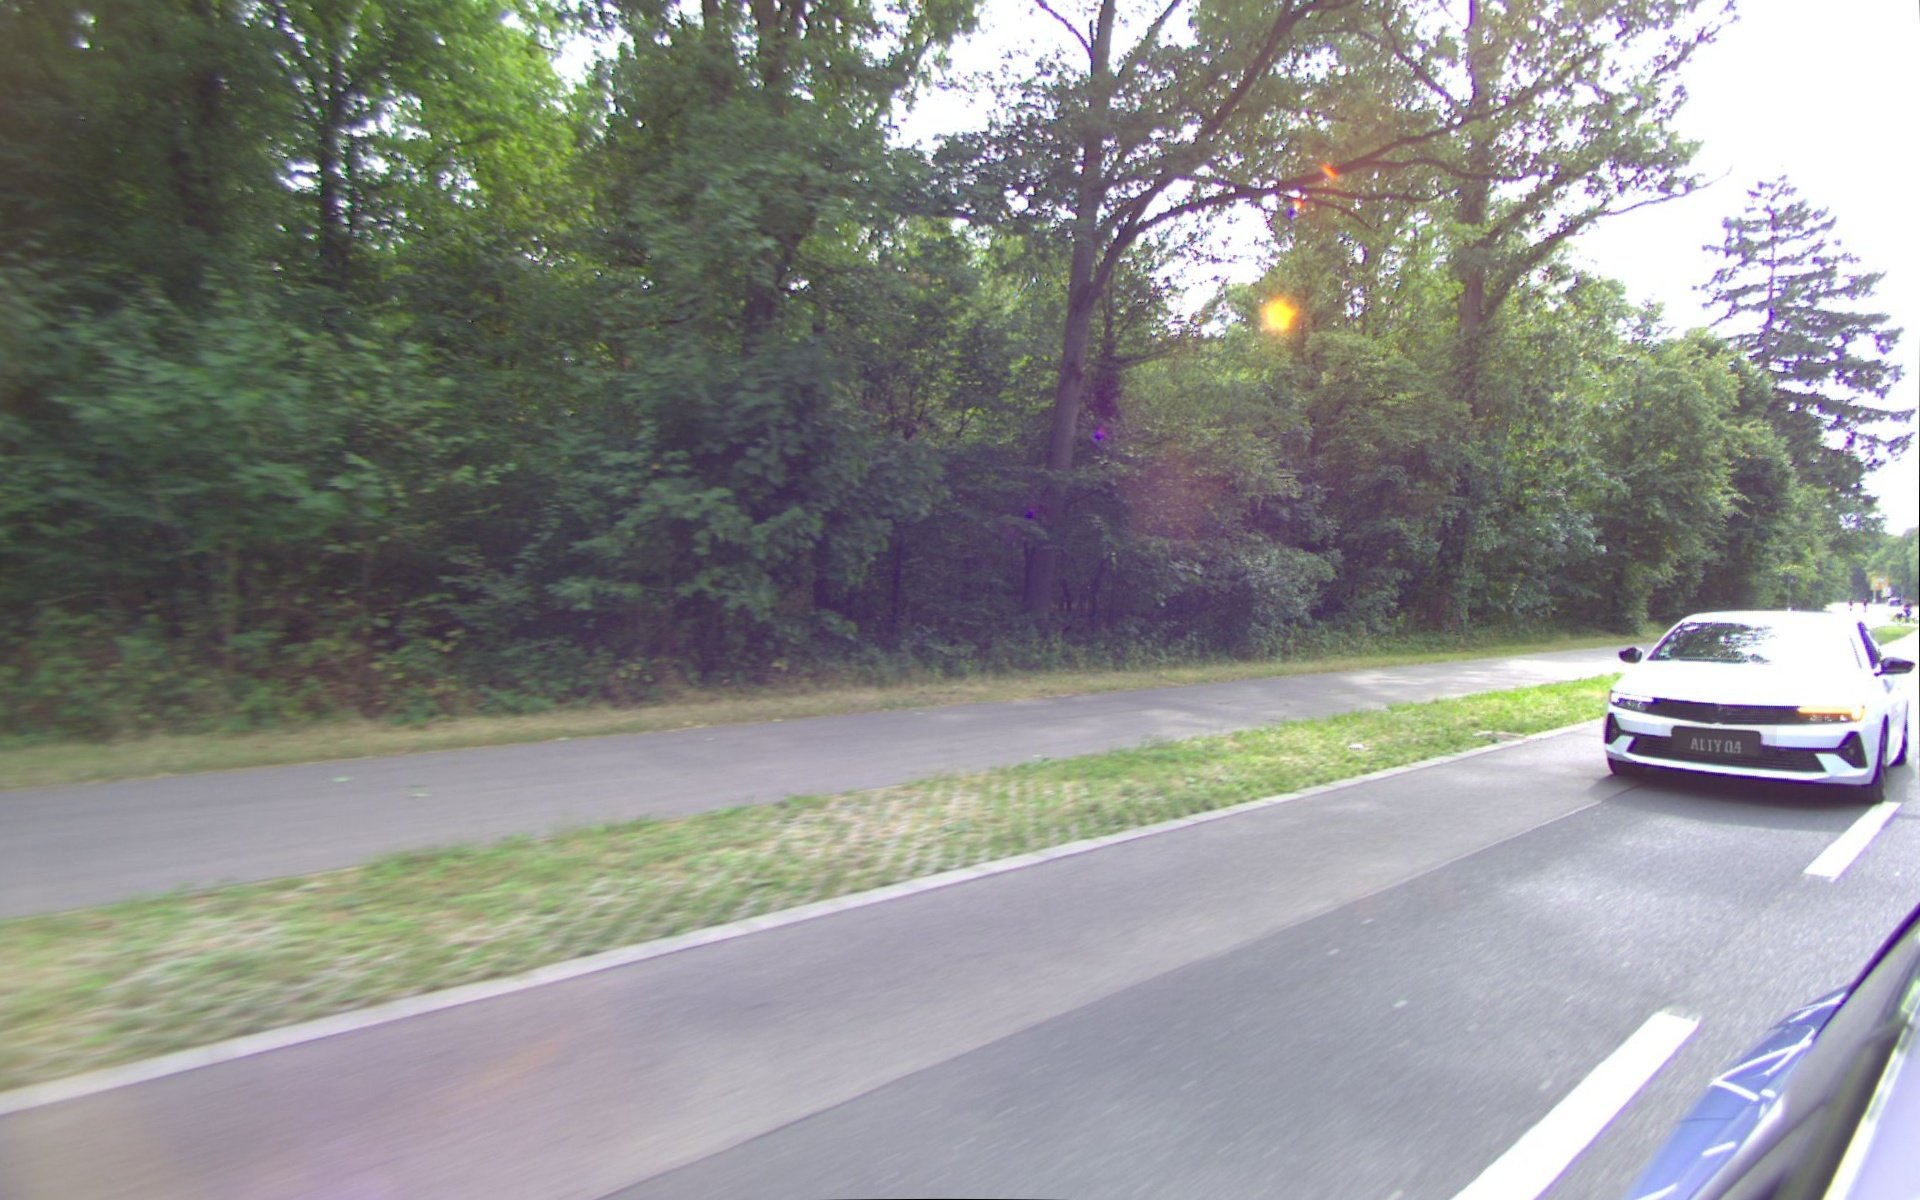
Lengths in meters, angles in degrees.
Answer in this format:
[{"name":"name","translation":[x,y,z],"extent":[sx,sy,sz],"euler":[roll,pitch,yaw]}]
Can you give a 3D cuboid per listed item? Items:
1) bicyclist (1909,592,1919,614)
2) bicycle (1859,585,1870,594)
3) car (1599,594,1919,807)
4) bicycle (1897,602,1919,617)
[{"name":"bicyclist","translation":[66.000,0.220,69.680],"extent":[0.899,1.489,0.700],"euler":[1,0,45]},{"name":"bicycle","translation":[103.821,-1.212,116.213],"extent":[0.563,0.923,1.865],"euler":[4,2,32]},{"name":"car","translation":[7.425,0.679,9.055],"extent":[4.415,1.428,1.838],"euler":[-1,0,-43]},{"name":"bicycle","translation":[65.991,0.669,69.630],"extent":[0.699,1.006,2.175],"euler":[0,1,-45]}]
